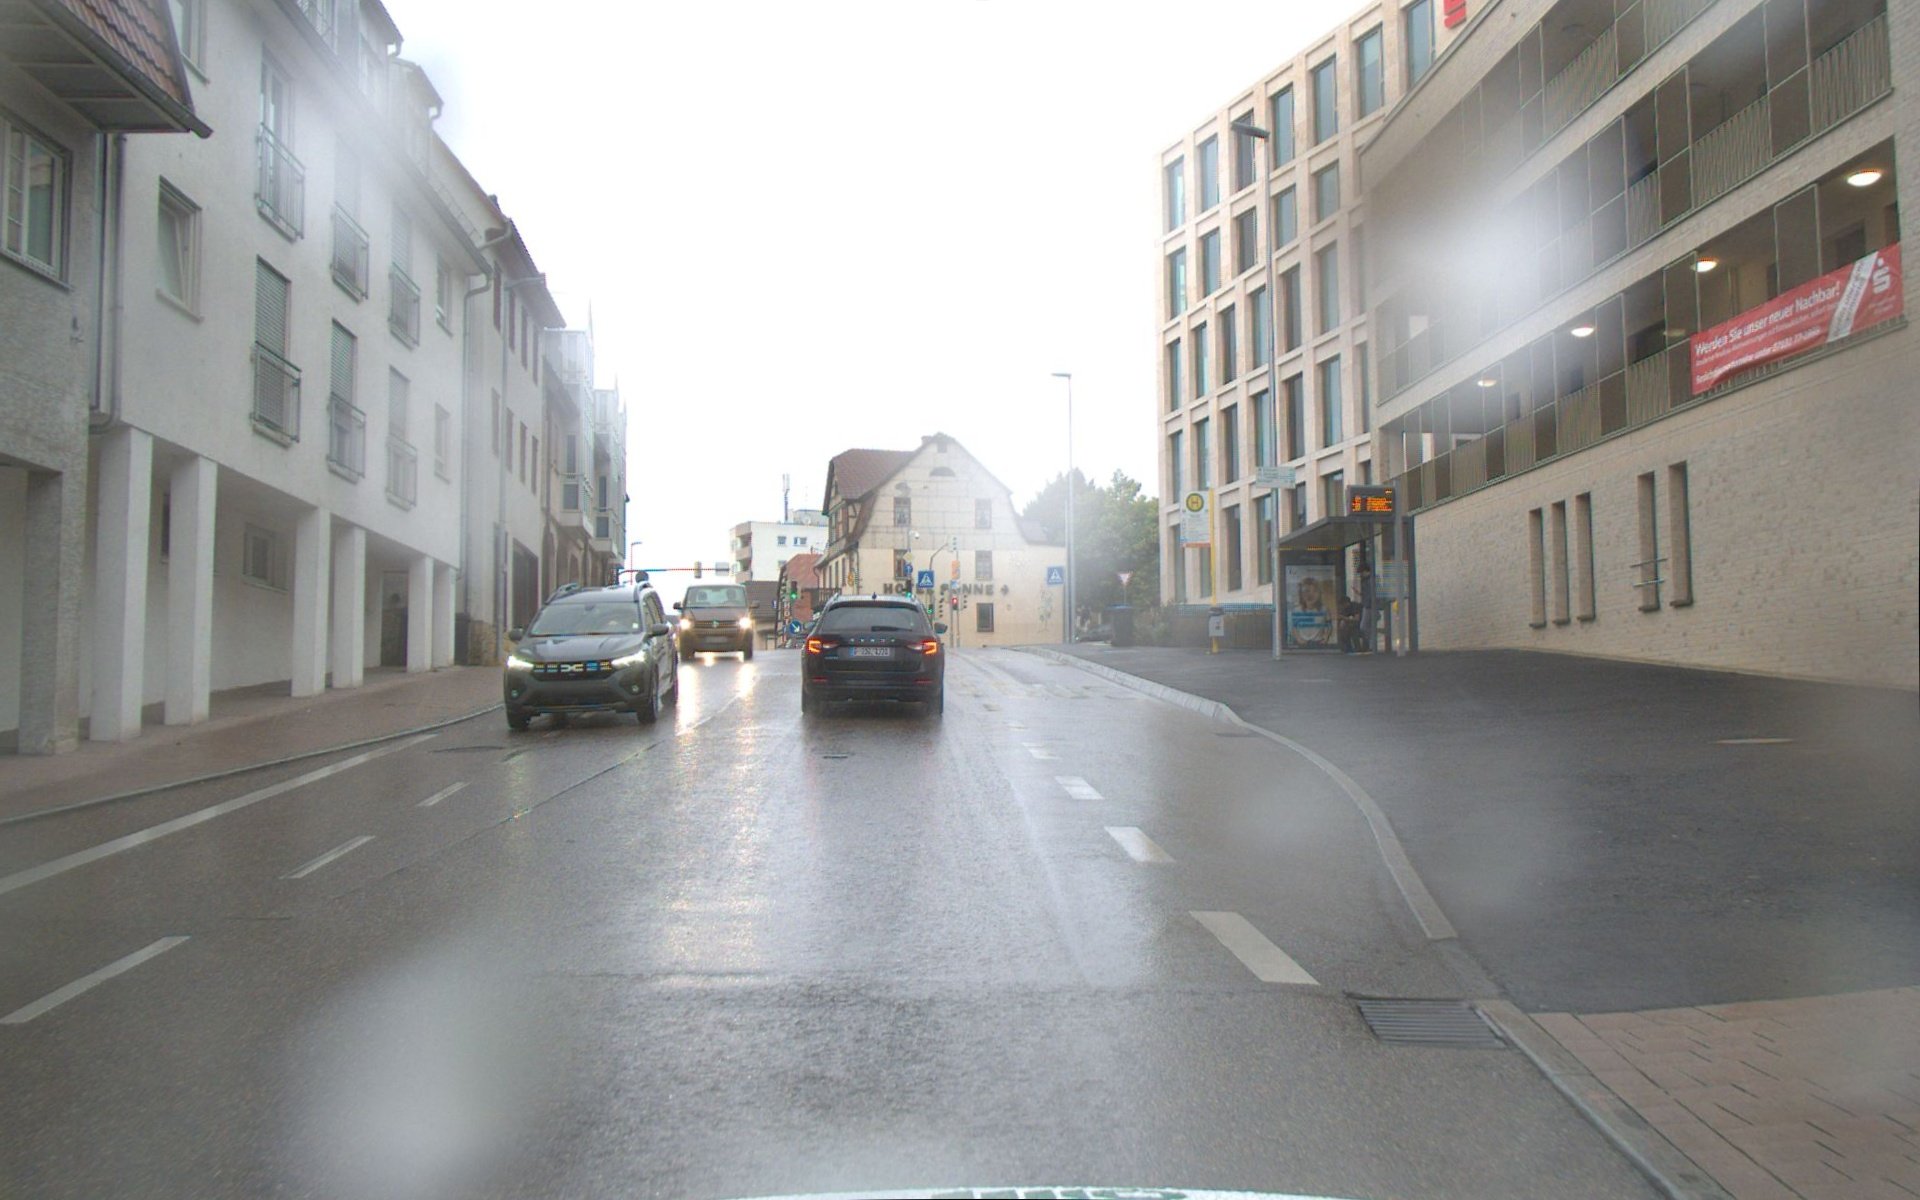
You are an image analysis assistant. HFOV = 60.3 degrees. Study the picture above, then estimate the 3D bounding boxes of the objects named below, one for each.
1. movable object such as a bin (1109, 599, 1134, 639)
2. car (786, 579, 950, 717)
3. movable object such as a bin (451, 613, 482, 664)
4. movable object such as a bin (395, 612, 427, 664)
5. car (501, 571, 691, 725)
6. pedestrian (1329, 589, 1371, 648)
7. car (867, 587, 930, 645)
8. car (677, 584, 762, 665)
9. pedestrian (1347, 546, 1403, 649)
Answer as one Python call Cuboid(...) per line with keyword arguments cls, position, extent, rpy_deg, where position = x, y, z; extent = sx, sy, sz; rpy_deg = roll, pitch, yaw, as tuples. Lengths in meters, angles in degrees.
Cuboid(cls="movable object such as a bin", position=(4.390, 0.513, 45.083), extent=(0.583, 1.081, 0.578), rpy_deg=(-1, 0, -2))
Cuboid(cls="car", position=(-1.230, 0.564, 21.598), extent=(1.906, 1.594, 4.413), rpy_deg=(0, 0, -4))
Cuboid(cls="movable object such as a bin", position=(-9.976, 0.778, 33.447), extent=(0.498, 1.024, 0.584), rpy_deg=(0, 0, -6))
Cuboid(cls="movable object such as a bin", position=(-11.025, 0.765, 33.215), extent=(0.498, 1.024, 0.584), rpy_deg=(0, 0, -6))
Cuboid(cls="car", position=(-4.498, 0.548, 21.023), extent=(1.747, 1.723, 4.455), rpy_deg=(-1, 0, -5))
Cuboid(cls="pedestrian", position=(8.038, 0.371, 34.085), extent=(0.658, 1.182, 0.635), rpy_deg=(-2, 0, -2))
Cuboid(cls="car", position=(-1.773, 0.428, 46.519), extent=(1.644, 1.536, 3.586), rpy_deg=(-1, 0, -4))
Cuboid(cls="car", position=(-6.277, 0.613, 43.686), extent=(1.894, 1.941, 5.037), rpy_deg=(-2, 0, -5))
Cuboid(cls="pedestrian", position=(8.204, -0.045, 32.754), extent=(0.766, 1.974, 1.021), rpy_deg=(-2, 0, -1))
